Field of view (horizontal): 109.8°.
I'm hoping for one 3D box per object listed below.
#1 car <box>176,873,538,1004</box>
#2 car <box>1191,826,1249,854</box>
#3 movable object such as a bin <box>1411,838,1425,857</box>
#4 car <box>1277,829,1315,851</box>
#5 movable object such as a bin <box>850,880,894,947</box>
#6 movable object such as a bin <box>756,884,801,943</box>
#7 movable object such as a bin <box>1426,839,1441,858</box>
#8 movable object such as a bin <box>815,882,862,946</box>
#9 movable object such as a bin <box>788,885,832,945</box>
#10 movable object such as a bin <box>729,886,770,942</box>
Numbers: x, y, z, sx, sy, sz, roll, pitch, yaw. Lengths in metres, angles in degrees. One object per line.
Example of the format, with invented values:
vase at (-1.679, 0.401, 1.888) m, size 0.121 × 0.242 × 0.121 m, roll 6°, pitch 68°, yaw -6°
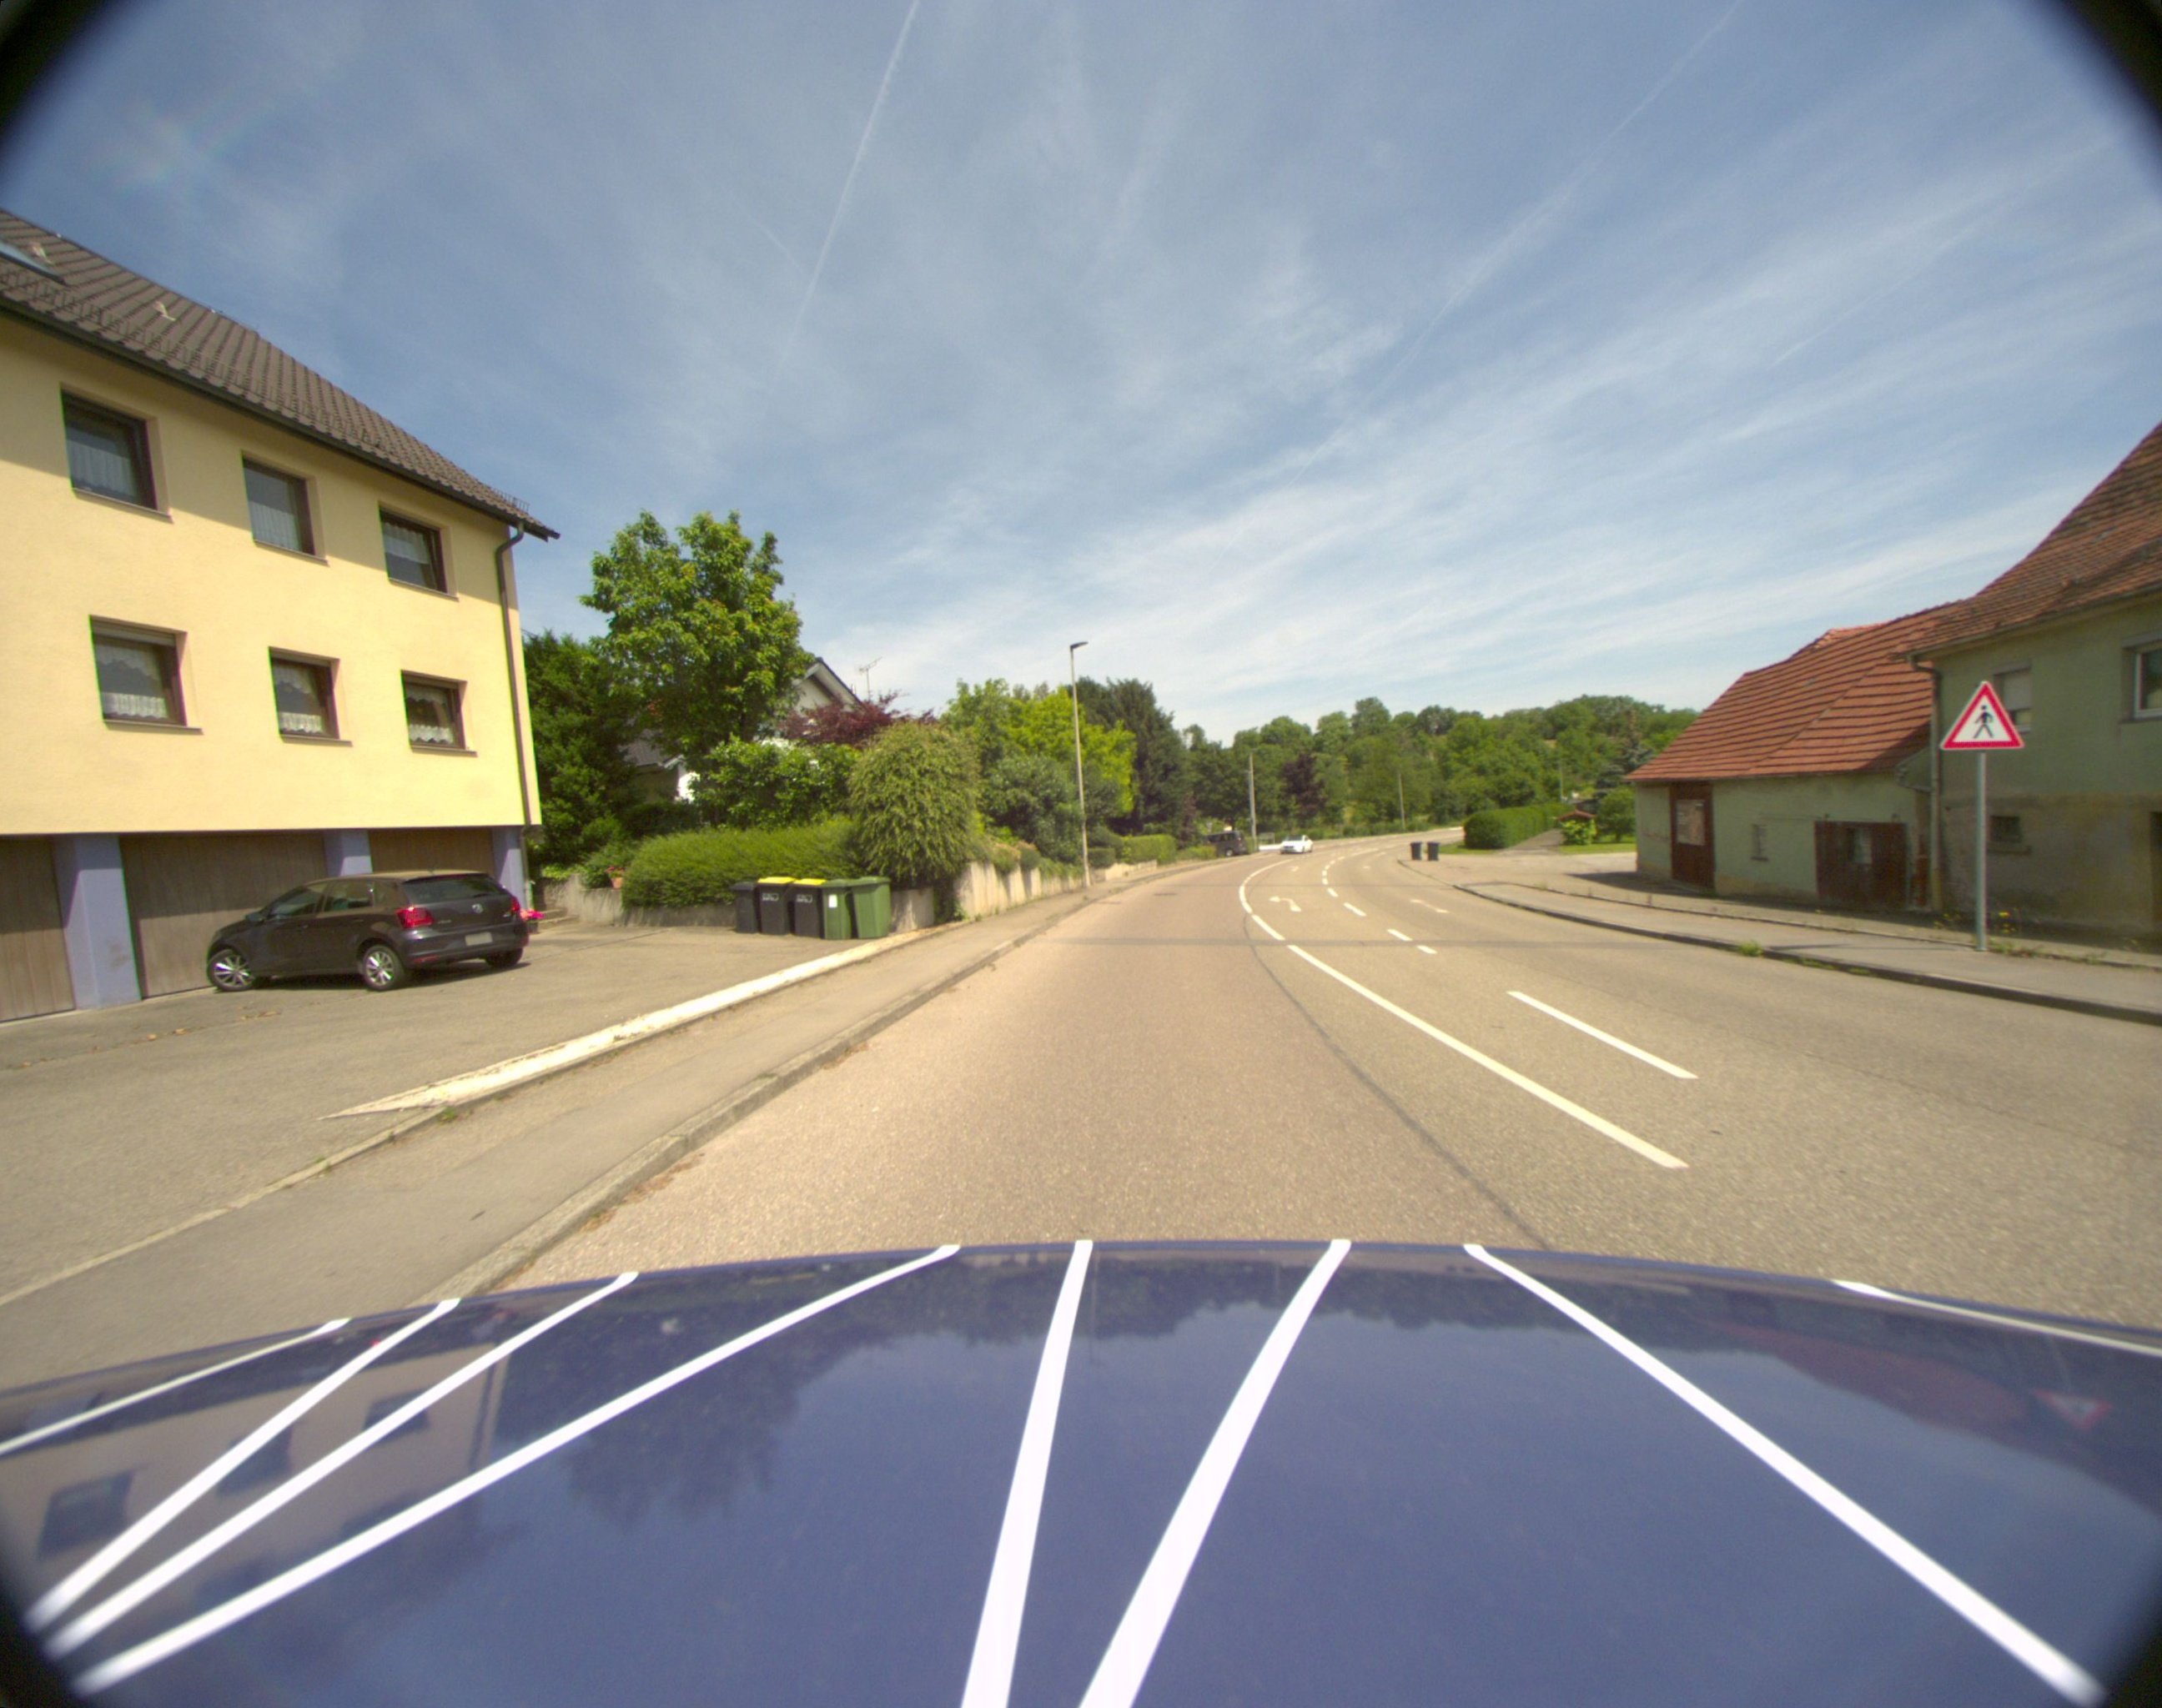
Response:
car at (-9.550, 1.093, 10.126) m, size 3.687 × 1.410 × 1.645 m, roll -3°, pitch 2°, yaw 13°
car at (10.696, -1.073, 58.393) m, size 3.901 × 1.938 × 1.959 m, roll -3°, pitch 1°, yaw 27°
movable object such as a bin at (19.606, -0.392, 44.189) m, size 0.553 × 1.075 × 0.541 m, roll -3°, pitch 1°, yaw 1°
car at (17.362, -1.149, 61.190) m, size 1.823 × 1.543 × 4.007 m, roll -3°, pitch 1°, yaw 32°
movable object such as a bin at (-3.655, 1.030, 13.327) m, size 0.485 × 1.101 × 0.565 m, roll -3°, pitch 1°, yaw 11°
movable object such as a bin at (-5.471, 1.067, 13.756) m, size 0.485 × 1.016 × 0.565 m, roll 0°, pitch 2°, yaw 15°
movable object such as a bin at (19.731, -0.317, 42.582) m, size 0.534 × 1.044 × 0.541 m, roll -3°, pitch 1°, yaw 1°
movable object such as a bin at (-4.282, 1.054, 13.436) m, size 0.485 × 1.064 × 0.565 m, roll -3°, pitch 1°, yaw 15°
movable object such as a bin at (-4.844, 1.075, 13.612) m, size 0.485 × 1.016 × 0.565 m, roll 0°, pitch 2°, yaw 15°
movable object such as a bin at (-6.030, 1.082, 13.837) m, size 0.449 × 0.950 × 0.516 m, roll 1°, pitch 2°, yaw 12°
